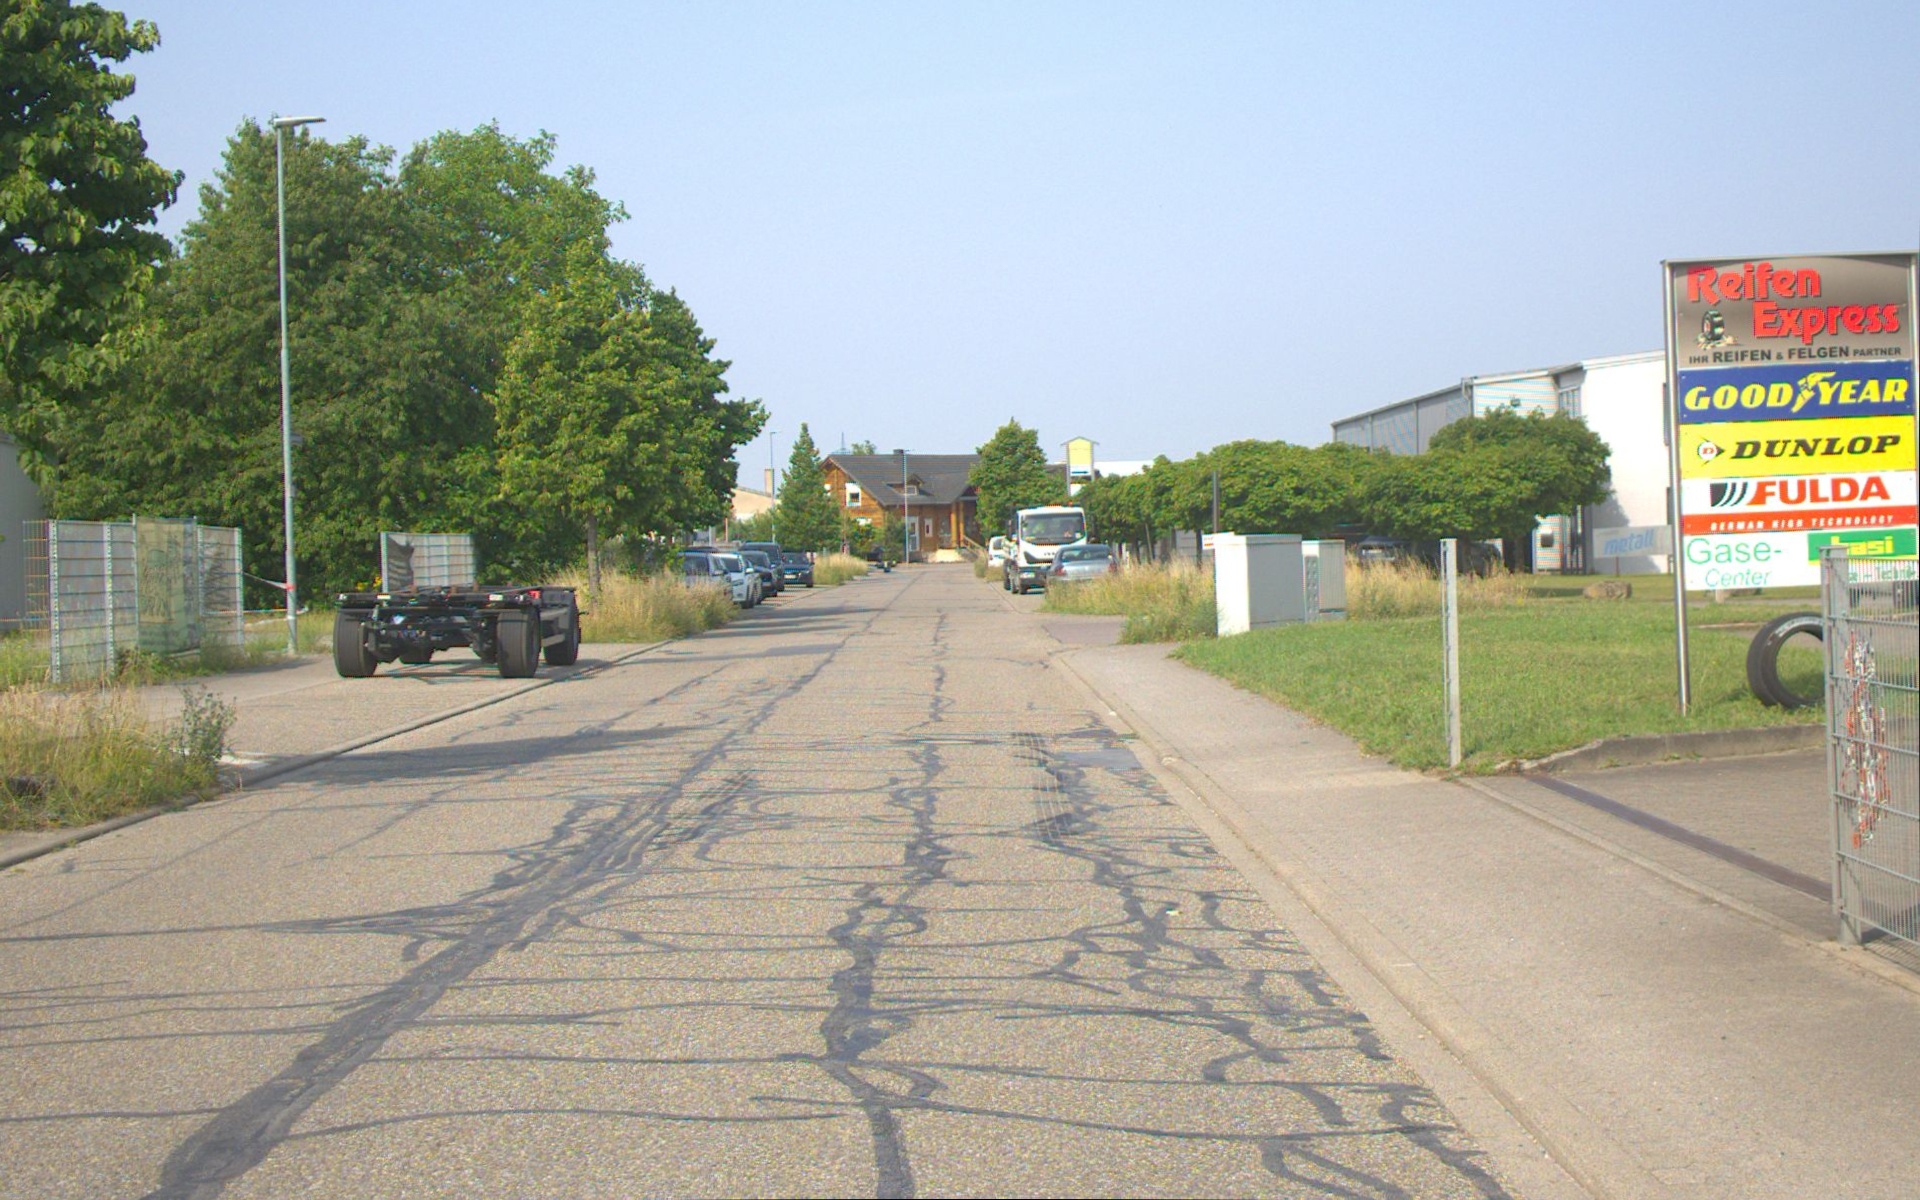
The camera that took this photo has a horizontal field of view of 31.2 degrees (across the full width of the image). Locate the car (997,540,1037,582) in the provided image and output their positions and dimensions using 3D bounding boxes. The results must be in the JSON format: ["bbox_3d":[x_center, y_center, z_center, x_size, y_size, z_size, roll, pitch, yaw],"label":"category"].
[{"bbox_3d":[2.756,-1.918,167.831,1.837,1.917,3.756,-2,1,0],"label":"car"}]

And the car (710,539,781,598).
[{"bbox_3d":[-6.712,-1.014,107.961,1.856,1.709,4.226,-3,1,1],"label":"car"}]

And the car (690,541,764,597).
[{"bbox_3d":[-6.238,-0.843,92.382,1.683,1.464,4.254,0,1,0],"label":"car"}]

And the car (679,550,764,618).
[{"bbox_3d":[-5.725,-0.403,82.842,1.566,1.533,3.688,-2,1,3],"label":"car"}]

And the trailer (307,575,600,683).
[{"bbox_3d":[-6.501,0.310,45.486,2.582,1.180,9.364,0,1,0],"label":"trailer"}]

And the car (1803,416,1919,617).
[{"bbox_3d":[13.762,-1.196,48.963,1.974,2.696,5.881,-1,1,-1],"label":"car"}]

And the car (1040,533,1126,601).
[{"bbox_3d":[2.889,-0.803,81.814,1.794,1.512,4.424,-2,1,-1],"label":"car"}]

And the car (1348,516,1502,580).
[{"bbox_3d":[12.694,-1.425,93.612,4.522,1.583,1.686,-3,1,-44],"label":"car"}]

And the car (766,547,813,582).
[{"bbox_3d":[-6.976,-1.468,141.208,1.800,1.382,3.638,0,1,-1],"label":"car"}]

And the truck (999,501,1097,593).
[{"bbox_3d":[2.666,-1.625,105.456,2.359,2.672,6.512,-2,1,-4],"label":"truck"}]
